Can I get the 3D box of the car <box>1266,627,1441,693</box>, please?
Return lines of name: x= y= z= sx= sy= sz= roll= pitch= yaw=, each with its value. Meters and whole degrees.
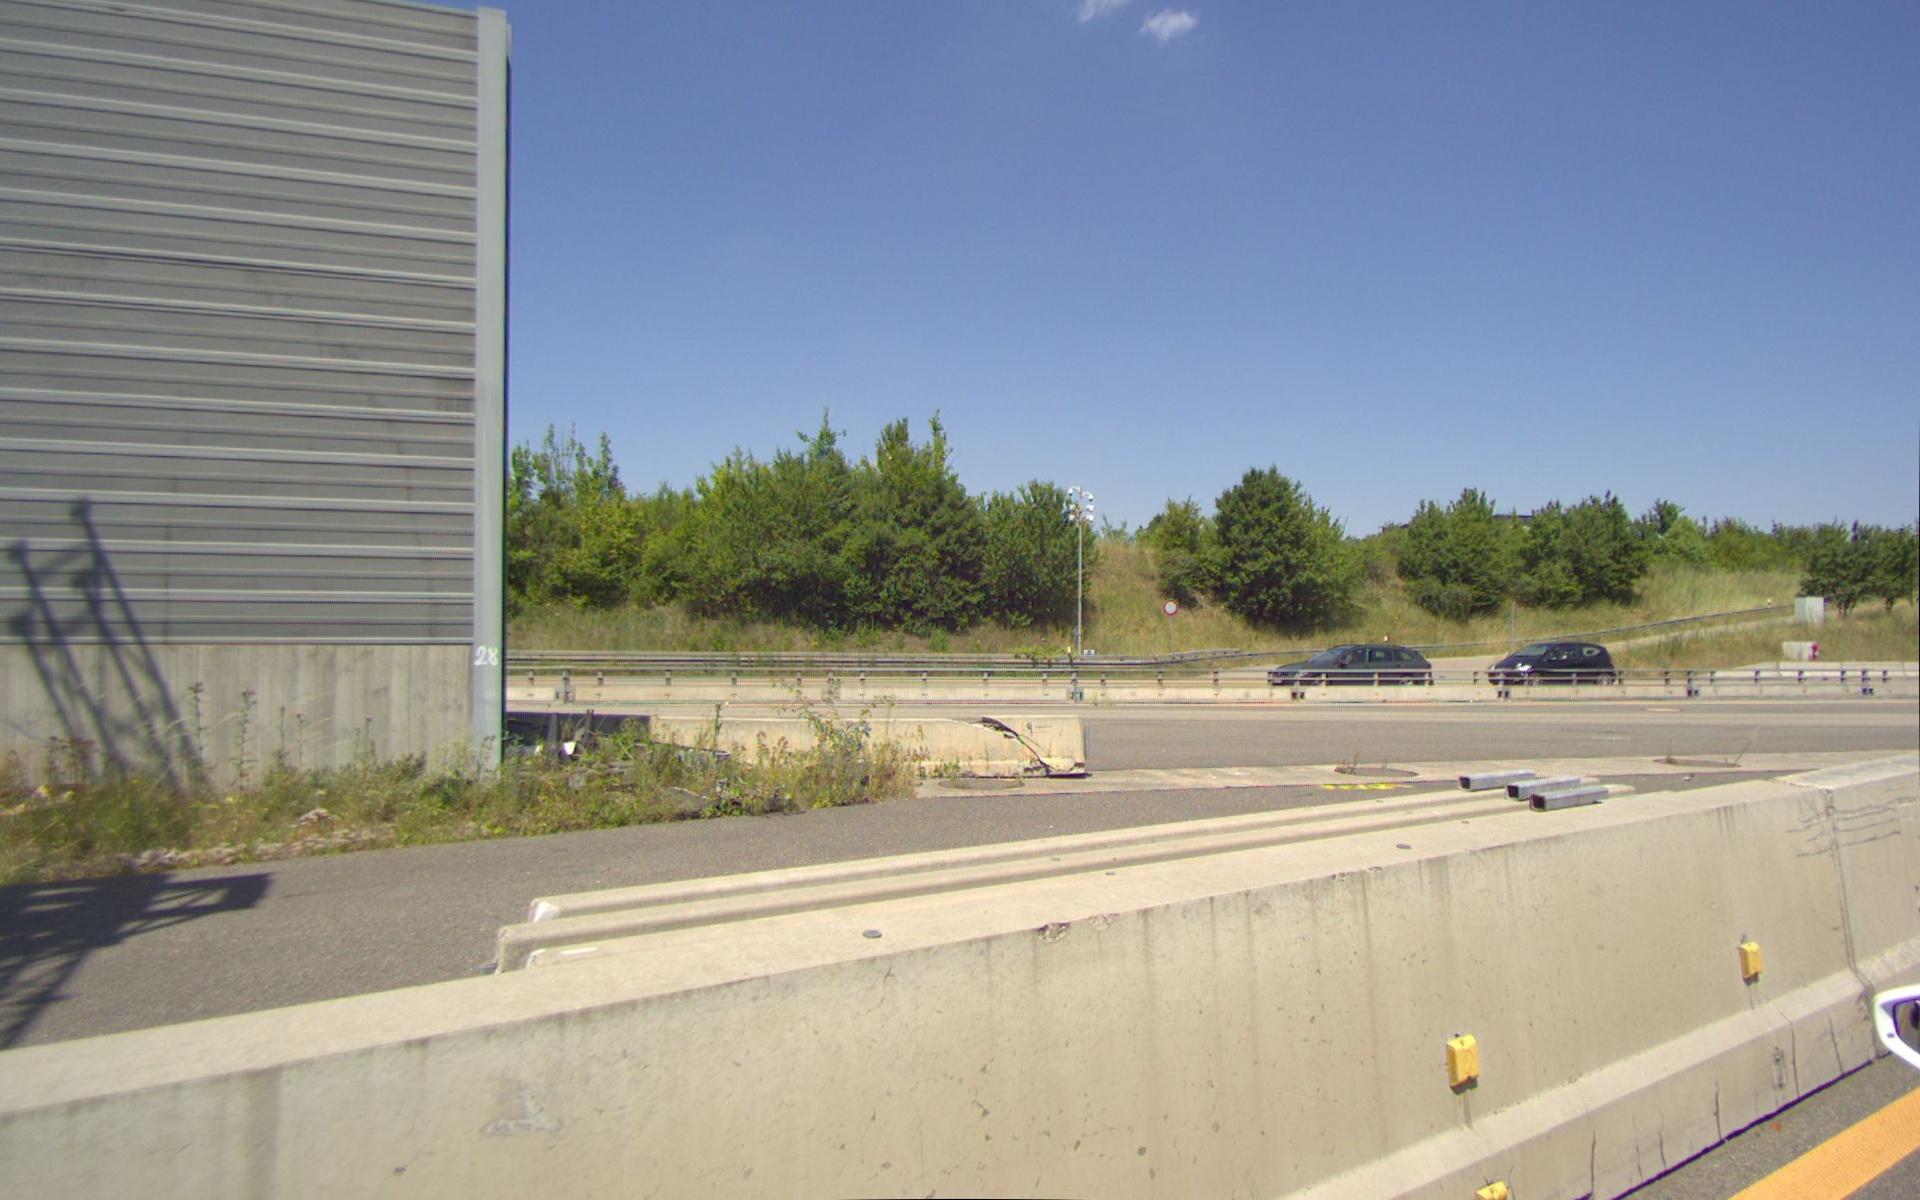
car: x=11.106 y=1.678 z=28.448 sx=4.372 sy=1.753 sz=1.699 roll=1 pitch=-1 yaw=-11

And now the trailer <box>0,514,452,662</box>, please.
trailer: x=-24.948 y=-0.341 z=33.591 sx=13.652 sy=4.327 sz=3.553 roll=2 pitch=0 yaw=-8

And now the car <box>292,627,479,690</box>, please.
car: x=-15.752 y=1.602 z=27.751 sx=4.096 sy=1.645 sz=1.718 roll=1 pitch=-1 yaw=-11

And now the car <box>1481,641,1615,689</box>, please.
car: x=19.456 y=2.139 z=33.283 sx=3.624 sy=1.511 sz=1.718 roll=1 pitch=-1 yaw=-12
